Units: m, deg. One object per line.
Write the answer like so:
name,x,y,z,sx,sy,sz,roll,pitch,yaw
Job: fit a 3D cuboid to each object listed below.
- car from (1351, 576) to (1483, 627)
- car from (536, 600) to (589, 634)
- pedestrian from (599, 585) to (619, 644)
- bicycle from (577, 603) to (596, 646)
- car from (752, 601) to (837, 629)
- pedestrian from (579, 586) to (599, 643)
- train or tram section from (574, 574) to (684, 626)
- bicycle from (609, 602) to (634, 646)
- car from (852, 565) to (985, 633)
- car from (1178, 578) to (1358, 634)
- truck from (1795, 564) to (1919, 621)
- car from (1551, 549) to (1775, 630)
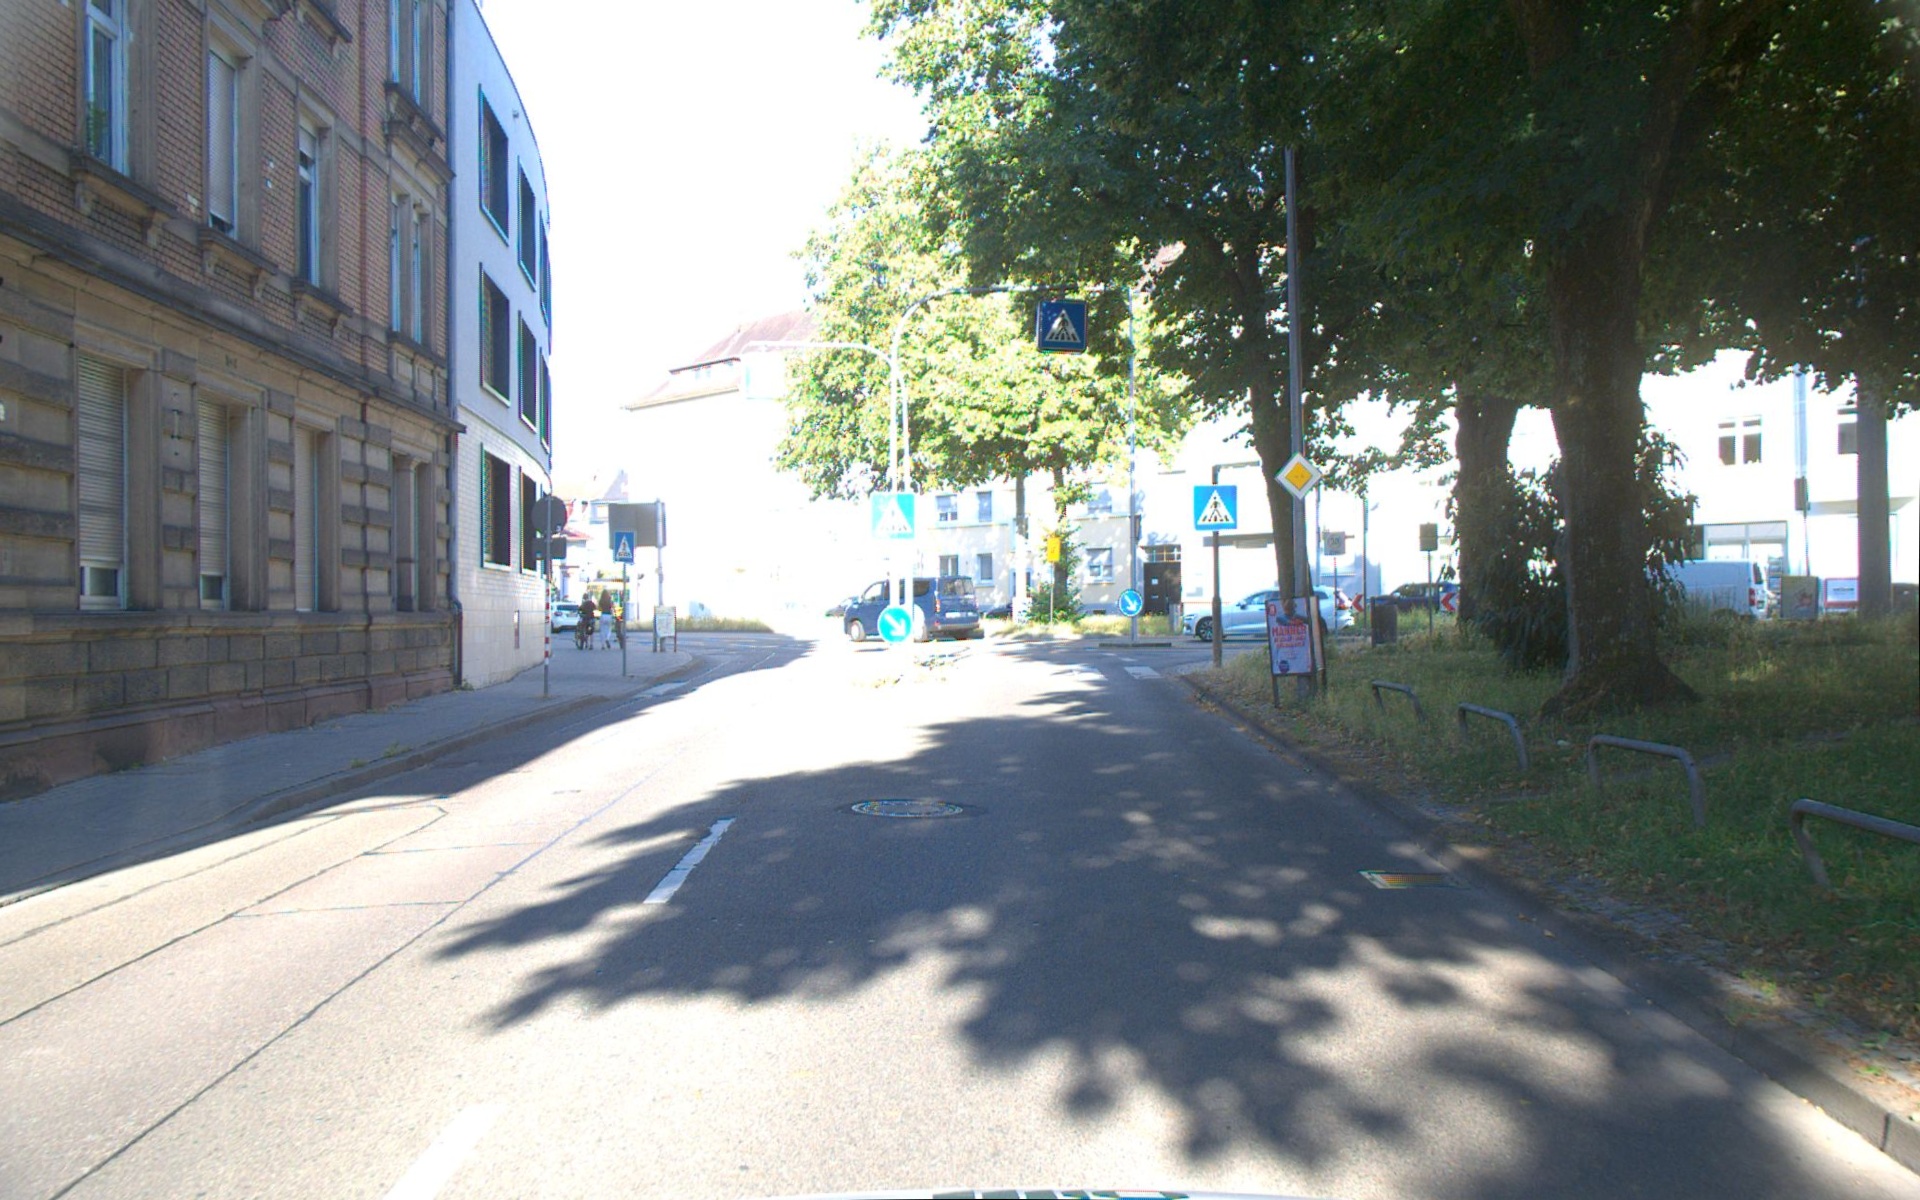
car,16.338,0.044,59.275,1.986,1.779,4.139,-1,1,-45
car,-19.045,0.801,79.231,1.932,1.531,3.660,-2,1,-22
pedestrian,-9.986,0.411,47.051,0.467,1.676,0.599,-2,0,-20
bicycle,-10.645,0.686,47.080,0.370,1.187,1.828,-1,0,-17
car,-8.569,0.758,85.493,4.367,1.410,1.988,0,1,42
pedestrian,-10.551,0.418,47.001,0.467,1.592,0.599,-1,0,-20
train or tram section,-24.332,0.006,122.370,2.720,3.618,9.914,-1,0,24
bicycle,-9.639,0.664,47.025,0.433,1.199,1.956,0,0,-19
car,-1.319,-0.019,51.833,3.931,2.049,1.987,0,-1,44
car,8.520,0.173,45.727,4.658,1.489,1.855,0,1,19
truck,27.047,-0.236,48.642,1.985,1.613,4.030,-1,1,-44
car,17.327,-0.249,40.846,4.801,1.886,1.994,0,1,35
